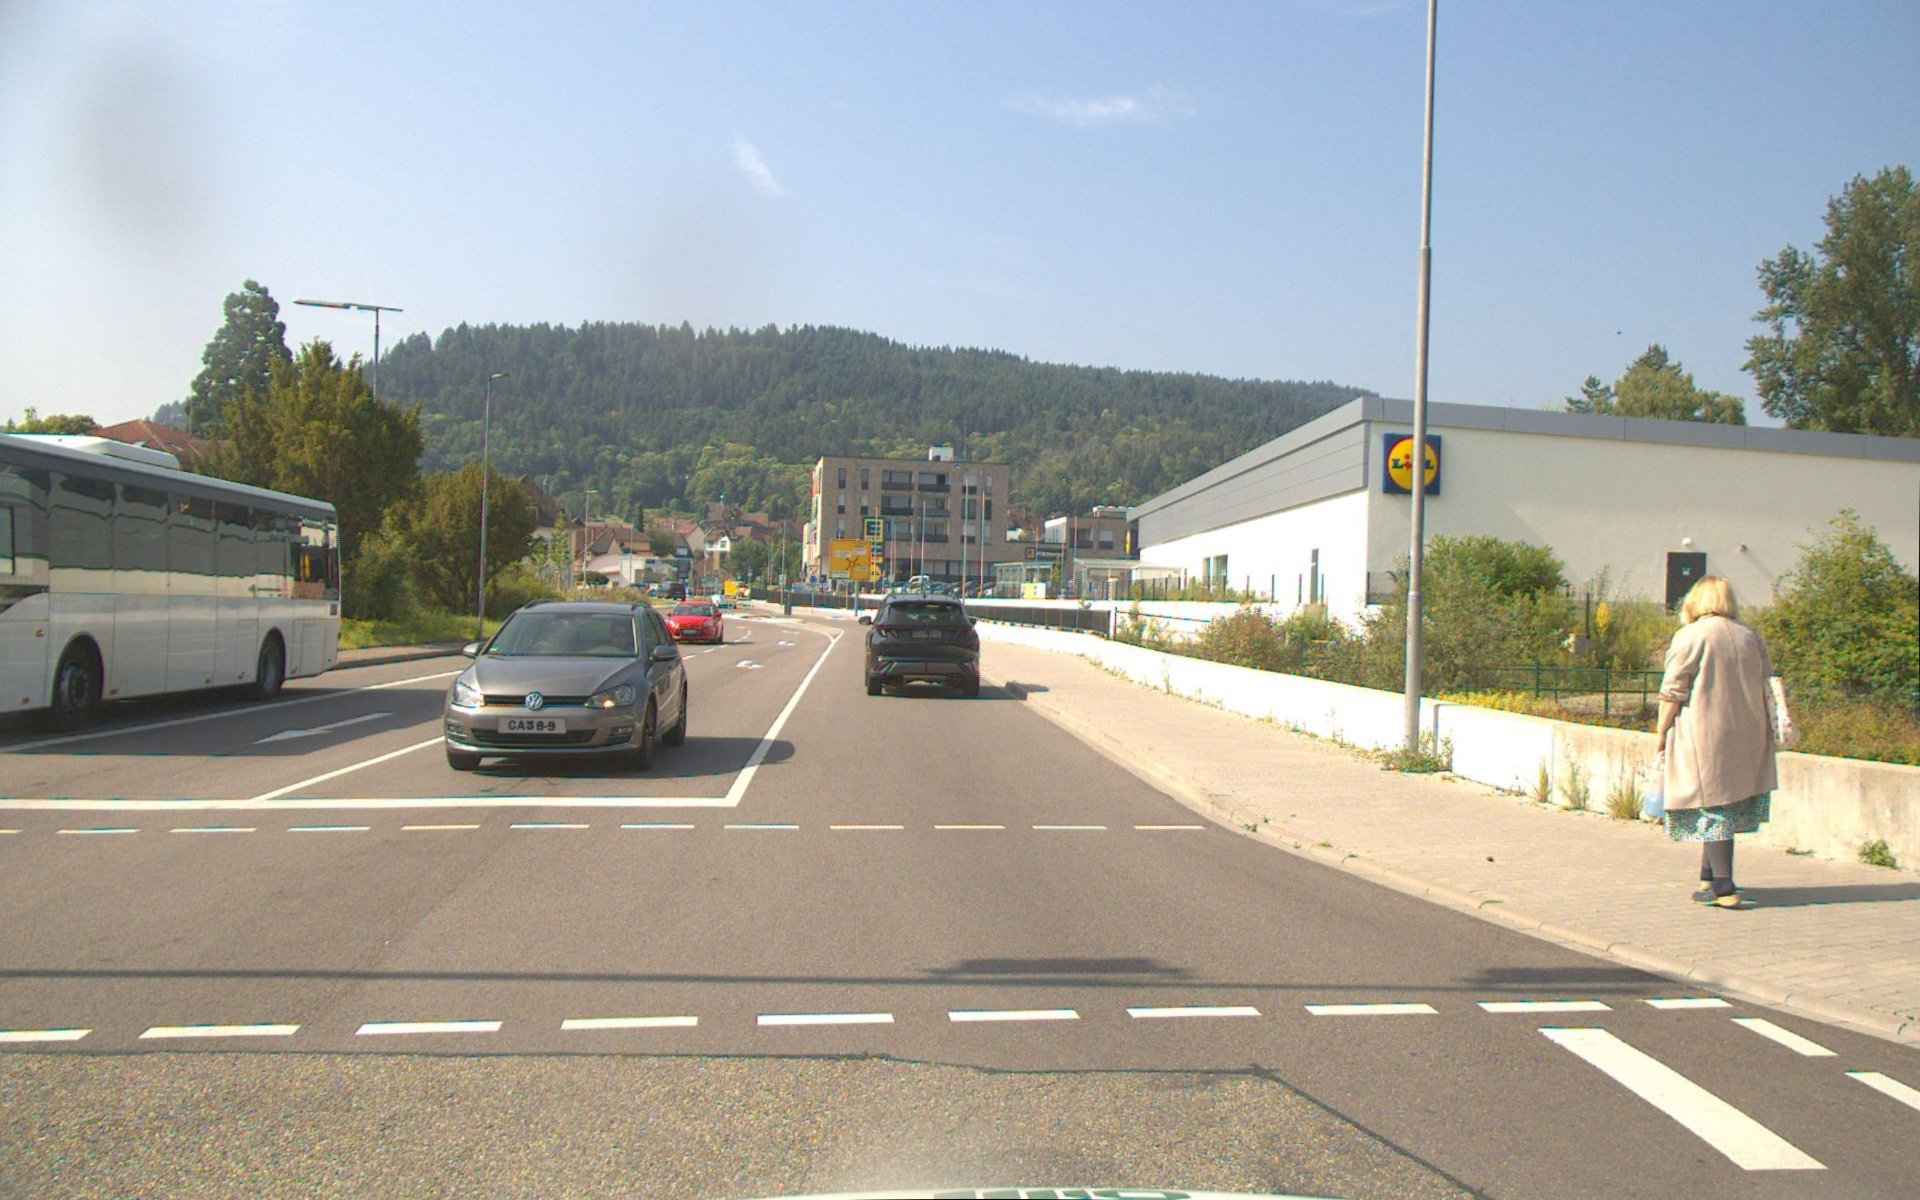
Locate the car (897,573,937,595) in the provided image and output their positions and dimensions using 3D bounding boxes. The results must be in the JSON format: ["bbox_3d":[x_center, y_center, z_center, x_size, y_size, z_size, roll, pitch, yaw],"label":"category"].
[{"bbox_3d":[-4.296,-1.594,165.647,3.906,2.173,2.000,1,0,-1],"label":"car"}]

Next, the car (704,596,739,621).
[{"bbox_3d":[-19.609,0.704,135.845,1.966,2.049,3.973,1,0,-22],"label":"car"}]

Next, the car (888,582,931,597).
[{"bbox_3d":[-4.561,-0.935,149.850,3.506,1.220,1.703,2,0,-22],"label":"car"}]

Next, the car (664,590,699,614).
[{"bbox_3d":[-24.916,0.208,147.981,1.951,2.049,4.003,1,0,8],"label":"car"}]

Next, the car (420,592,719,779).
[{"bbox_3d":[-3.504,0.713,15.637,1.736,1.499,4.220,1,0,1],"label":"car"}]

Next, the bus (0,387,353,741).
[{"bbox_3d":[-10.759,-0.335,20.790,2.569,3.368,11.947,1,0,-4],"label":"bus"}]

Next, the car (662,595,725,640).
[{"bbox_3d":[-9.483,0.624,59.046,1.801,1.518,4.428,1,0,-4],"label":"car"}]

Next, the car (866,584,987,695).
[{"bbox_3d":[-0.501,0.636,28.174,1.842,1.713,4.001,1,0,2],"label":"car"}]

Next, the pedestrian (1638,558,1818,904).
[{"bbox_3d":[3.941,0.648,8.529,0.695,1.700,0.593,1,-1,10],"label":"pedestrian"}]
